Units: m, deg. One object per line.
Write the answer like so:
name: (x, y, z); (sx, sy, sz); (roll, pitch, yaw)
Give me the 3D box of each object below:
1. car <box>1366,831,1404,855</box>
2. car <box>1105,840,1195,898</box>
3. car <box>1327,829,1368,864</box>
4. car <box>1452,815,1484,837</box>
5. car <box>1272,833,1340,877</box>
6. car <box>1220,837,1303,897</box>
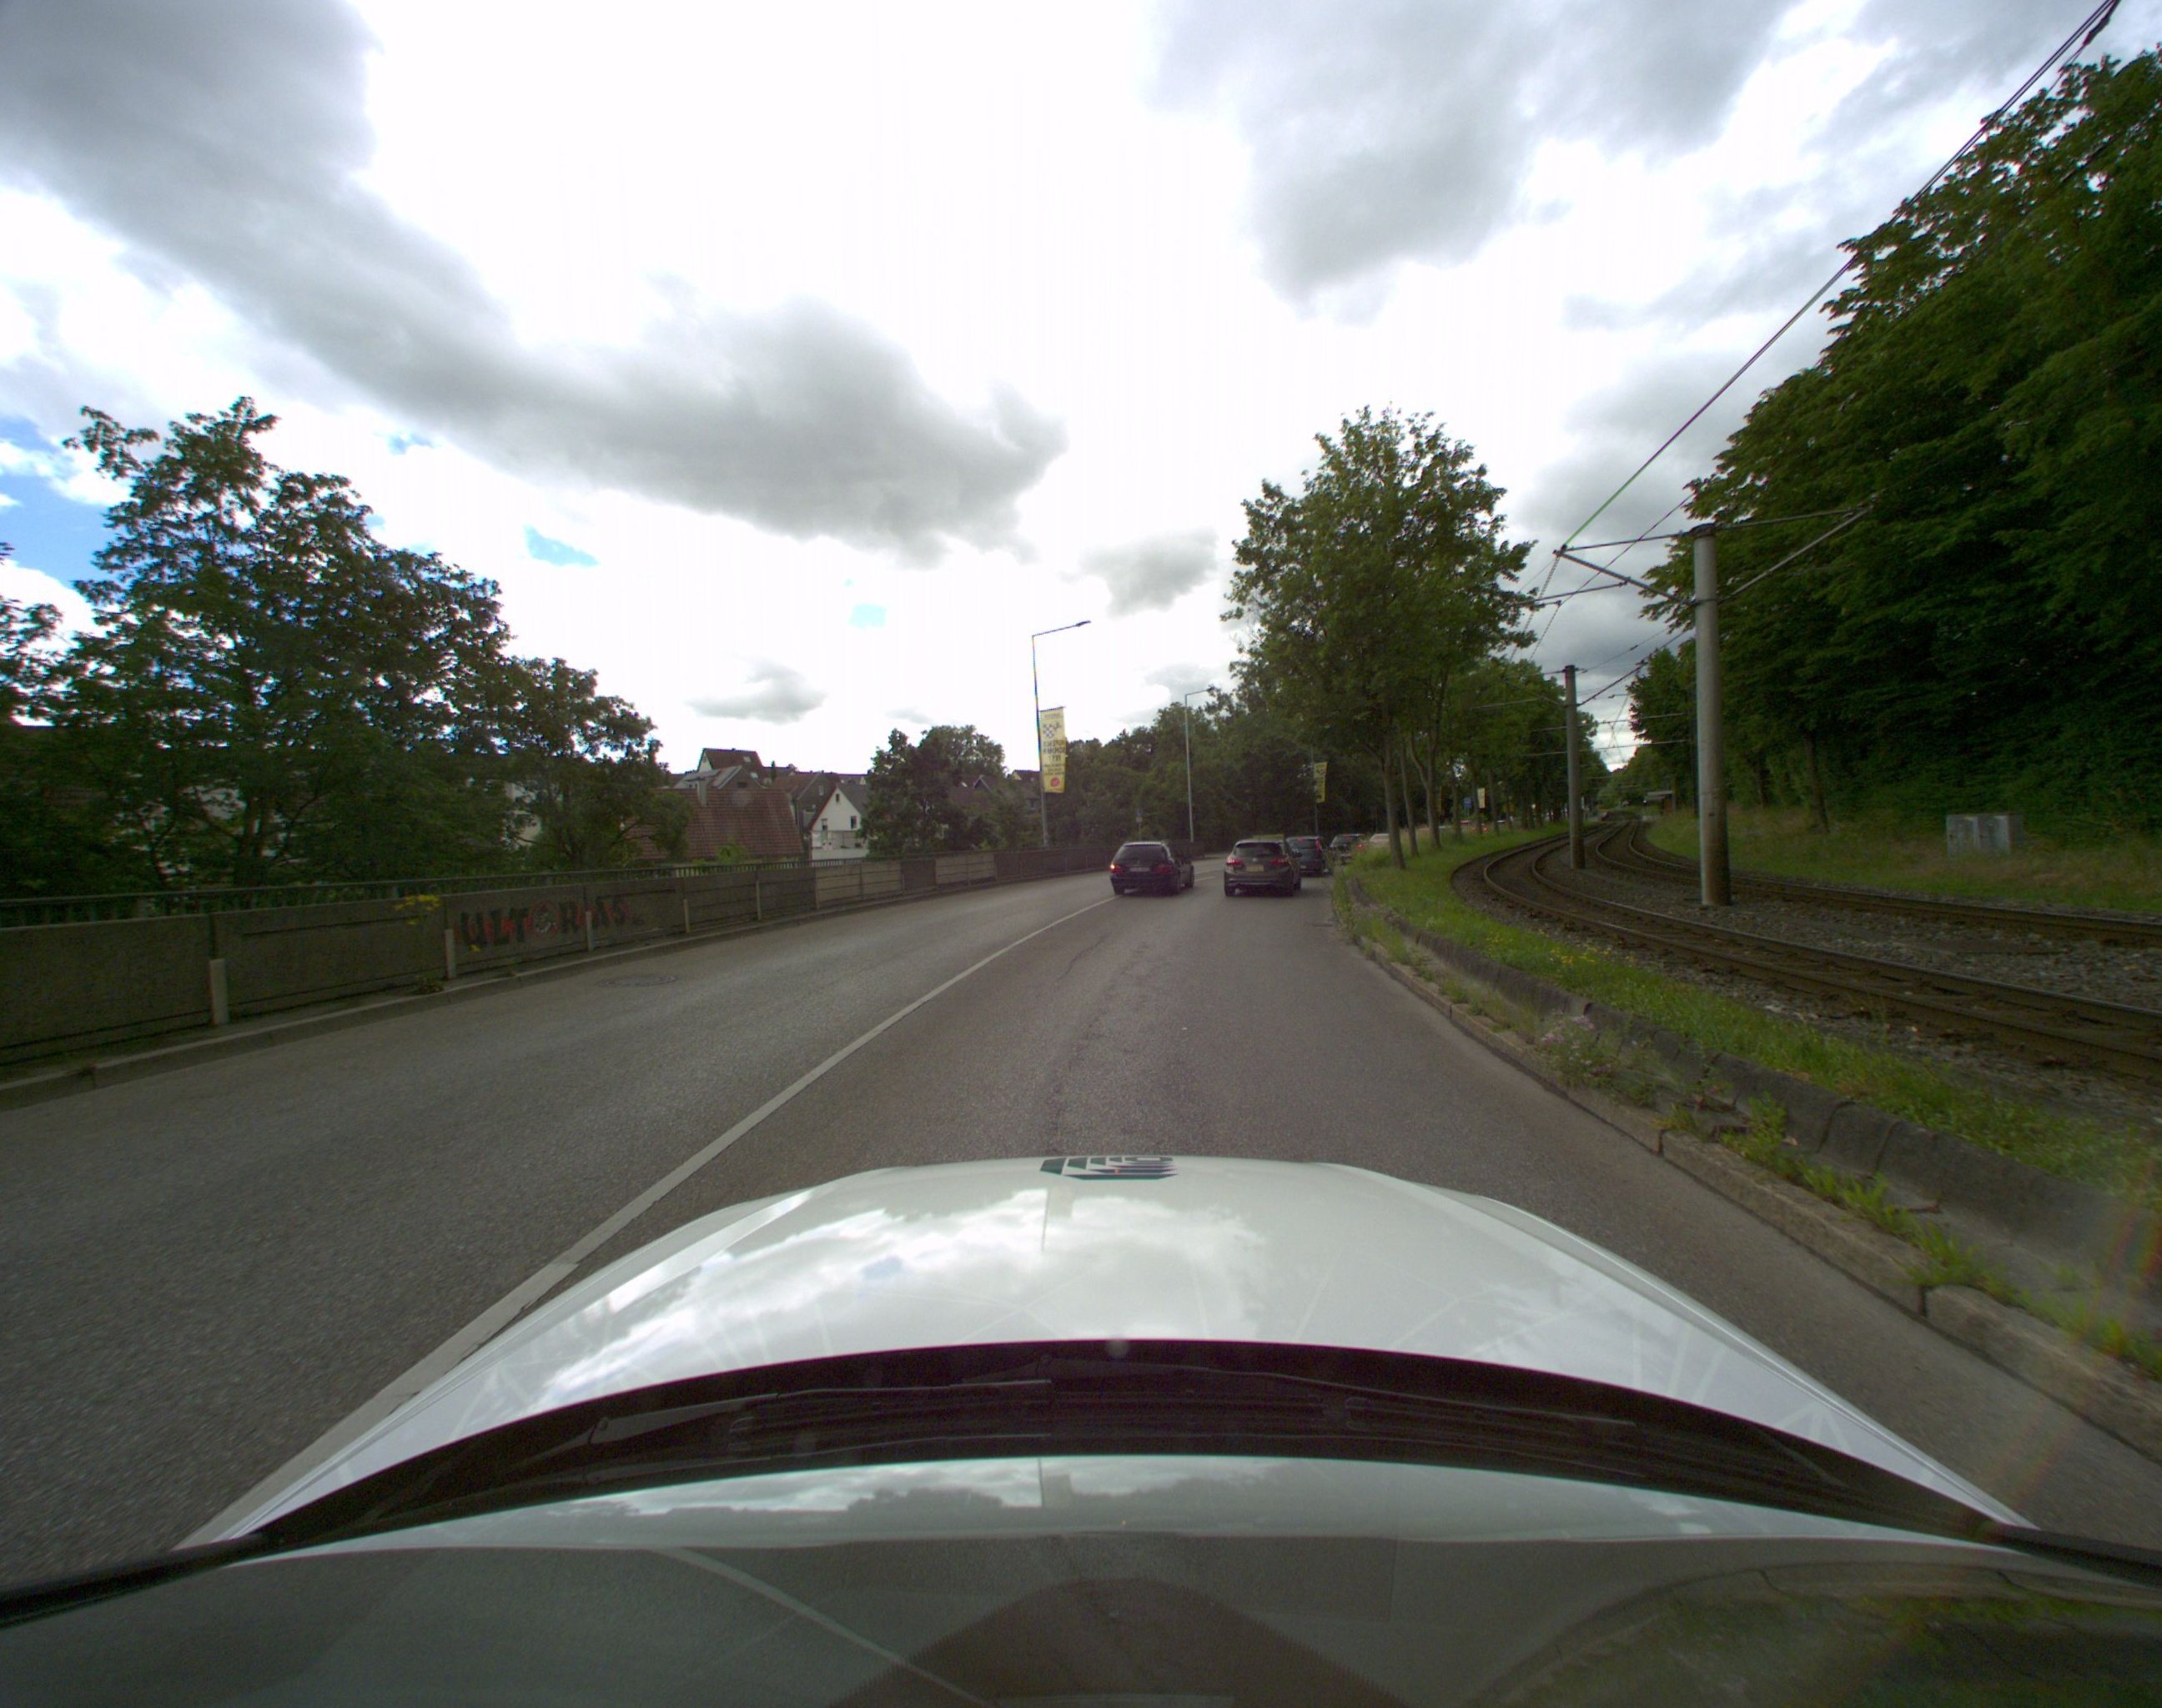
car: (18.190, -0.674, 48.616); (1.486, 1.364, 3.610); (-3, 0, 30)
car: (2.088, 0.352, 23.398); (1.838, 1.486, 4.438); (0, 1, 14)
car: (12.924, -0.390, 39.368); (1.564, 1.538, 4.022); (-3, 0, 22)
car: (34.663, -2.483, 72.920); (1.909, 1.859, 4.026); (-3, 0, 33)
car: (8.665, 0.024, 31.181); (1.876, 1.574, 4.023); (-1, 0, 24)
car: (5.079, 0.303, 22.562); (1.760, 1.494, 4.020); (0, 1, 19)
